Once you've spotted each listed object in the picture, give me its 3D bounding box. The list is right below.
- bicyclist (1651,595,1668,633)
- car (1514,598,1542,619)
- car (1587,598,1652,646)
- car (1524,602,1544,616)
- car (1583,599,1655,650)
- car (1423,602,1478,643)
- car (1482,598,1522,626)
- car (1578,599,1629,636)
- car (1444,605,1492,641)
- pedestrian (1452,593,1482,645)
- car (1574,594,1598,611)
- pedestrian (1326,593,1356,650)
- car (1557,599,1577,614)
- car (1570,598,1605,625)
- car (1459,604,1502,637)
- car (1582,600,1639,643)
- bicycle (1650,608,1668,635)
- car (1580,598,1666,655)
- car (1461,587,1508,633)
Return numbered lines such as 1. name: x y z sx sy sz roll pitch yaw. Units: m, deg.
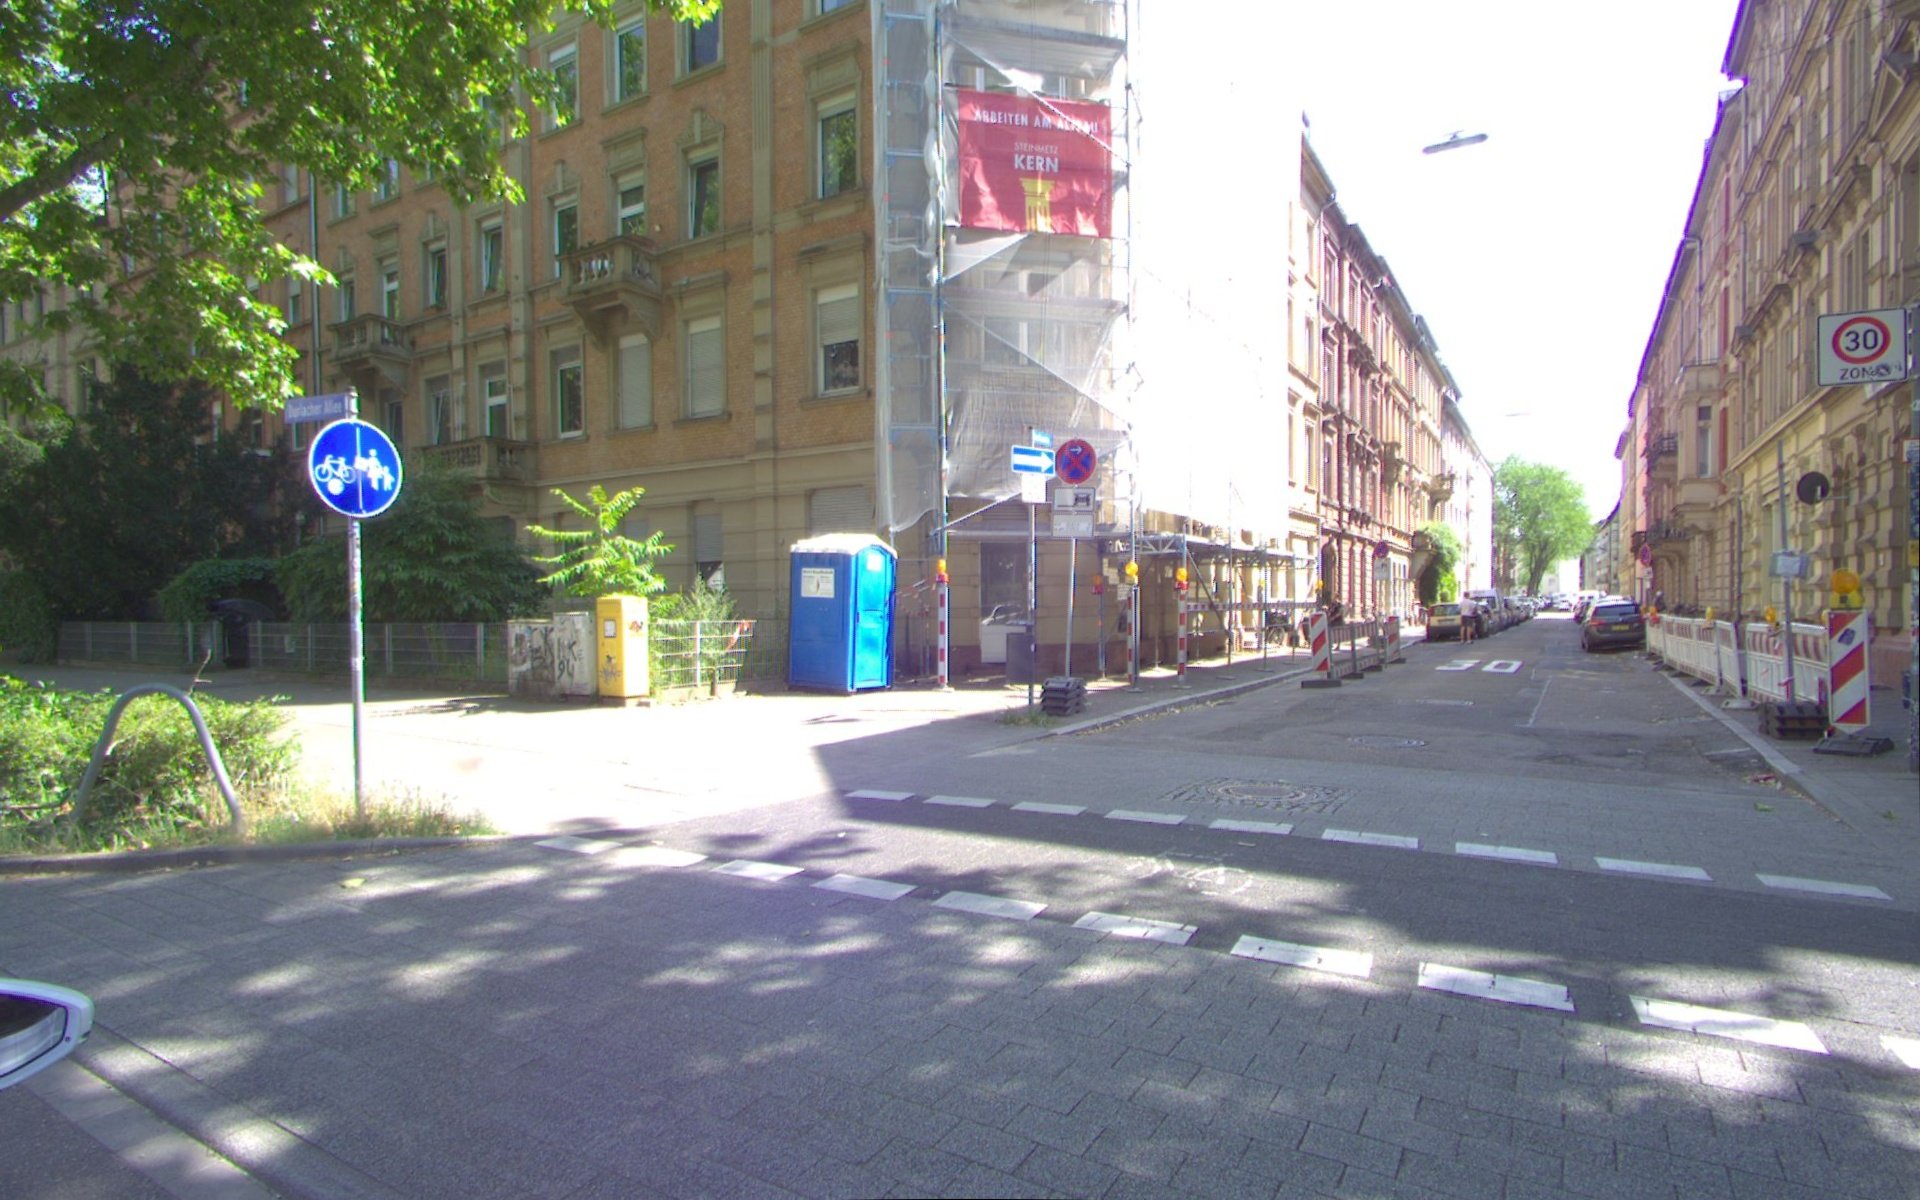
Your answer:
1. bicyclist: 26.993 0.530 38.664 0.525 1.473 0.458 0 1 33
2. car: 48.062 0.705 84.643 1.886 1.732 4.140 0 0 32
3. car: 25.688 0.829 39.139 1.971 1.762 3.979 0 0 31
4. car: 58.265 0.939 101.665 1.646 1.420 3.343 0 0 32
5. car: 23.019 0.819 35.101 1.971 1.661 3.979 0 0 31
6. car: 19.527 0.847 39.825 1.702 1.549 3.478 0 0 30
7. car: 34.388 0.734 63.495 1.886 1.732 4.139 0 0 33
8. car: 31.741 0.842 49.478 1.971 1.762 3.979 0 0 31
9. car: 22.570 0.996 44.439 1.702 1.549 3.478 0 0 30
10. pedestrian: 18.162 0.662 35.883 0.922 1.822 1.034 0 1 29
11. car: 63.355 0.264 101.432 1.971 1.762 3.979 0 0 31
12. pedestrian: 11.832 0.654 31.117 0.843 1.748 0.834 0 0 19
13. car: 71.408 0.753 117.758 1.971 1.762 3.979 0 0 31
14. car: 43.003 0.769 68.729 1.971 1.762 3.979 0 0 31
15. car: 25.746 0.991 49.493 1.702 1.549 3.478 0 0 30
16. car: 28.465 0.897 43.931 1.971 1.762 3.979 0 0 31
17. bicycle: 26.966 0.825 38.640 0.531 0.991 1.302 0 0 33
18. car: 19.689 0.745 29.880 1.971 1.572 3.979 0 0 31
19. car: 28.236 0.530 53.886 1.886 2.405 4.224 0 0 33
